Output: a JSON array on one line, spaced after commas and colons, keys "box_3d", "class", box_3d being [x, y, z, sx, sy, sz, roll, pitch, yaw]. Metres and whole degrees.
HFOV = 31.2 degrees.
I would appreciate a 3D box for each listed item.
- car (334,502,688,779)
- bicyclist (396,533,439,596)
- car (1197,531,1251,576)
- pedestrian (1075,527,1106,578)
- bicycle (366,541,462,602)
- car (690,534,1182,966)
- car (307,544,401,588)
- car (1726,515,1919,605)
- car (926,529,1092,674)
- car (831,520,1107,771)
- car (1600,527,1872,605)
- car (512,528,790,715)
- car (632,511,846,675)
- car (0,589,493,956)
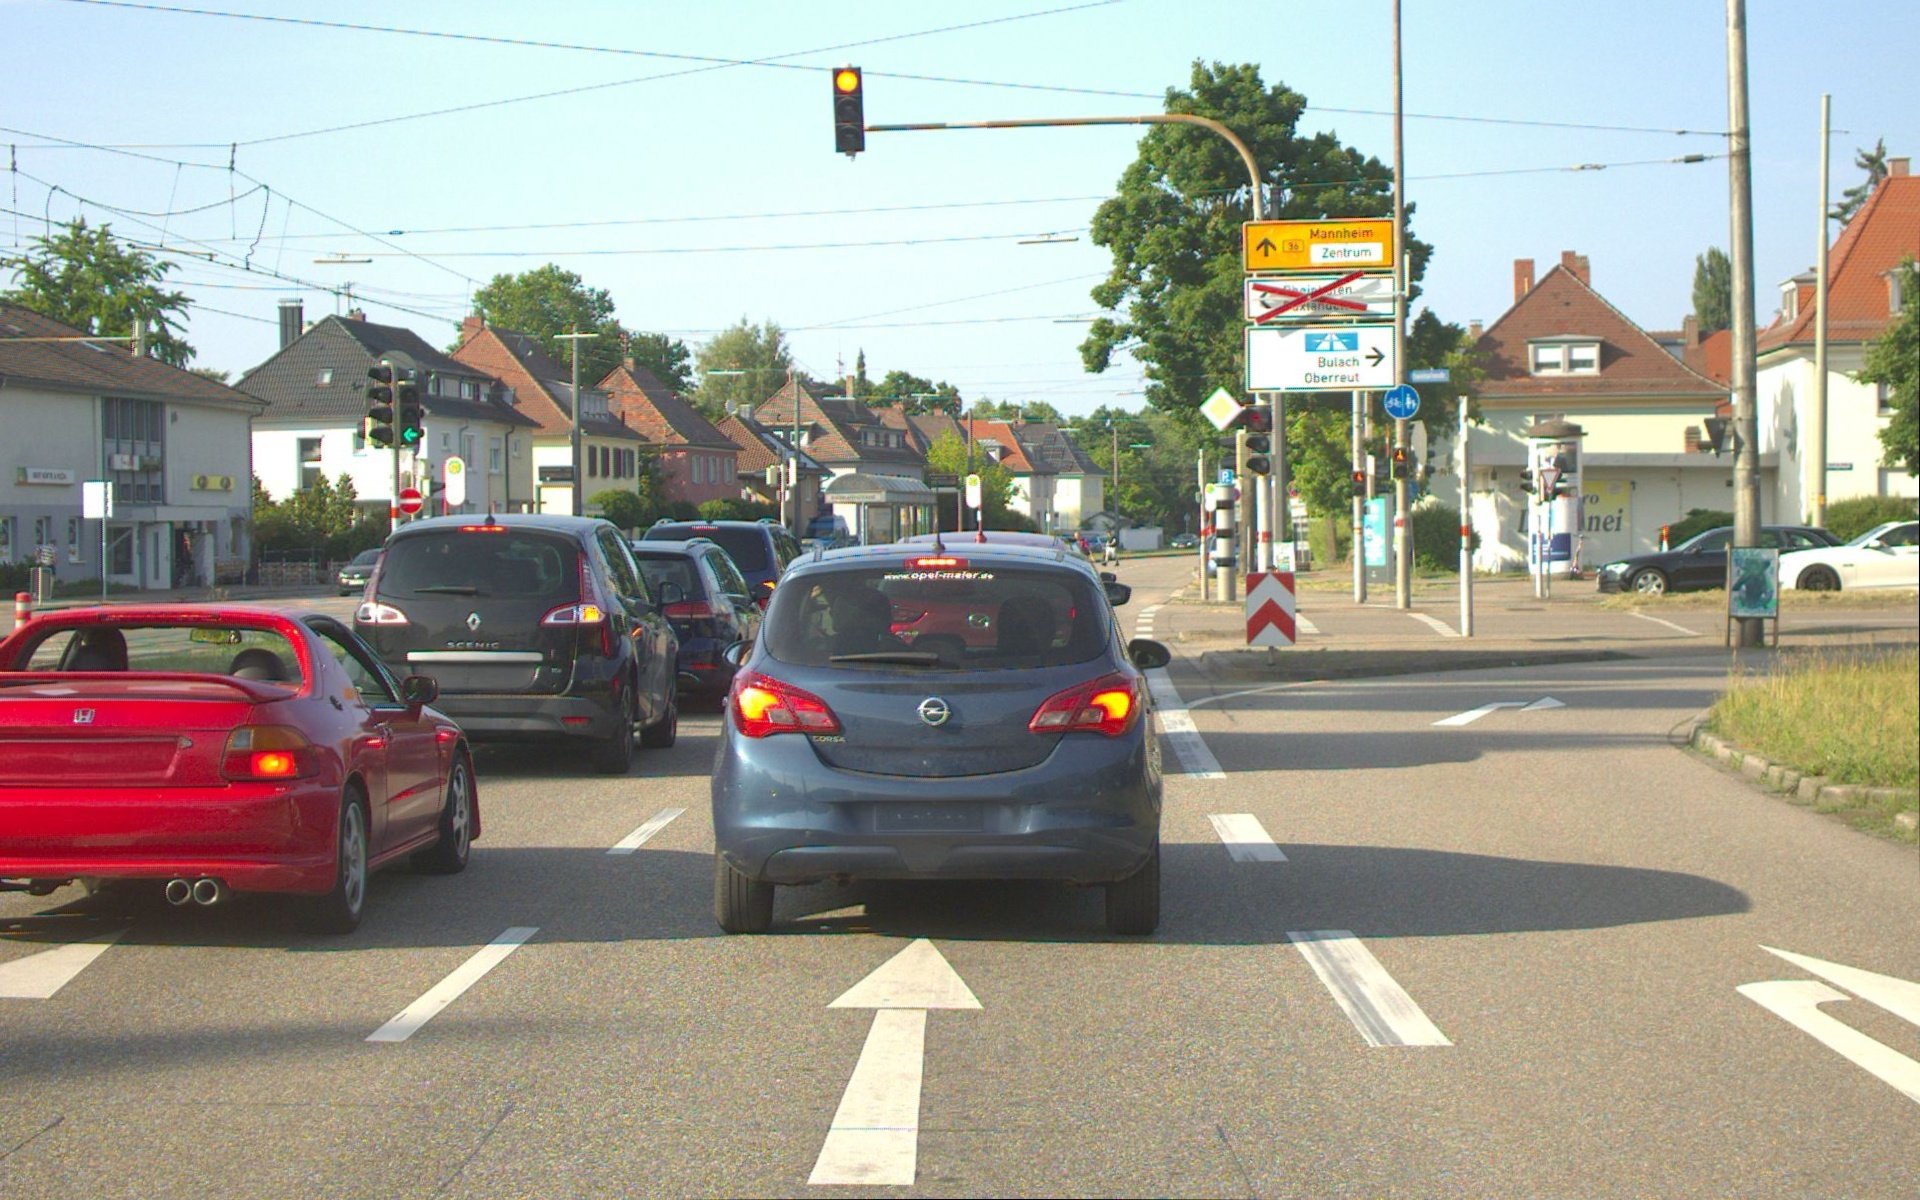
[{"box_3d": [-2.855, 0.199, 22.666, 1.763, 1.665, 4.084, 0, 1, 1], "class": "car"}, {"box_3d": [-12.346, -0.809, 78.255, 0.884, 1.426, 1.137, 1, 0, -5], "class": "bicyclist"}, {"box_3d": [8.465, -1.475, 110.187, 1.675, 1.393, 3.999, 1, 0, 4], "class": "car"}, {"box_3d": [3.853, -1.407, 101.551, 0.753, 1.494, 0.826, 1, 0, 12], "class": "pedestrian"}, {"box_3d": [-12.416, -0.656, 78.293, 2.073, 1.343, 1.109, 1, 0, -5], "class": "bicycle"}, {"box_3d": [-0.114, 0.494, 14.363, 1.741, 1.500, 4.223, 0, 1, -1], "class": "car"}, {"box_3d": [-18.960, -1.045, 107.686, 1.664, 1.341, 4.075, -1, 0, 9], "class": "car"}, {"box_3d": [16.404, -0.733, 61.376, 5.095, 1.557, 1.840, -1, 1, 5], "class": "car"}, {"box_3d": [0.539, -0.028, 36.804, 1.656, 1.438, 4.014, -1, 1, 1], "class": "car"}, {"box_3d": [0.088, 0.246, 23.544, 1.706, 1.546, 3.978, -1, 1, 1], "class": "car"}, {"box_3d": [14.660, -0.647, 65.146, 4.824, 1.406, 1.715, -1, 1, 5], "class": "car"}, {"box_3d": [-2.617, 0.125, 30.104, 1.700, 1.503, 4.553, 0, 1, 4], "class": "car"}, {"box_3d": [-2.327, -0.120, 37.292, 1.507, 1.645, 4.743, -1, 1, 6], "class": "car"}, {"box_3d": [-3.060, 0.599, 13.975, 1.731, 1.202, 3.847, 0, 1, 1], "class": "car"}]
